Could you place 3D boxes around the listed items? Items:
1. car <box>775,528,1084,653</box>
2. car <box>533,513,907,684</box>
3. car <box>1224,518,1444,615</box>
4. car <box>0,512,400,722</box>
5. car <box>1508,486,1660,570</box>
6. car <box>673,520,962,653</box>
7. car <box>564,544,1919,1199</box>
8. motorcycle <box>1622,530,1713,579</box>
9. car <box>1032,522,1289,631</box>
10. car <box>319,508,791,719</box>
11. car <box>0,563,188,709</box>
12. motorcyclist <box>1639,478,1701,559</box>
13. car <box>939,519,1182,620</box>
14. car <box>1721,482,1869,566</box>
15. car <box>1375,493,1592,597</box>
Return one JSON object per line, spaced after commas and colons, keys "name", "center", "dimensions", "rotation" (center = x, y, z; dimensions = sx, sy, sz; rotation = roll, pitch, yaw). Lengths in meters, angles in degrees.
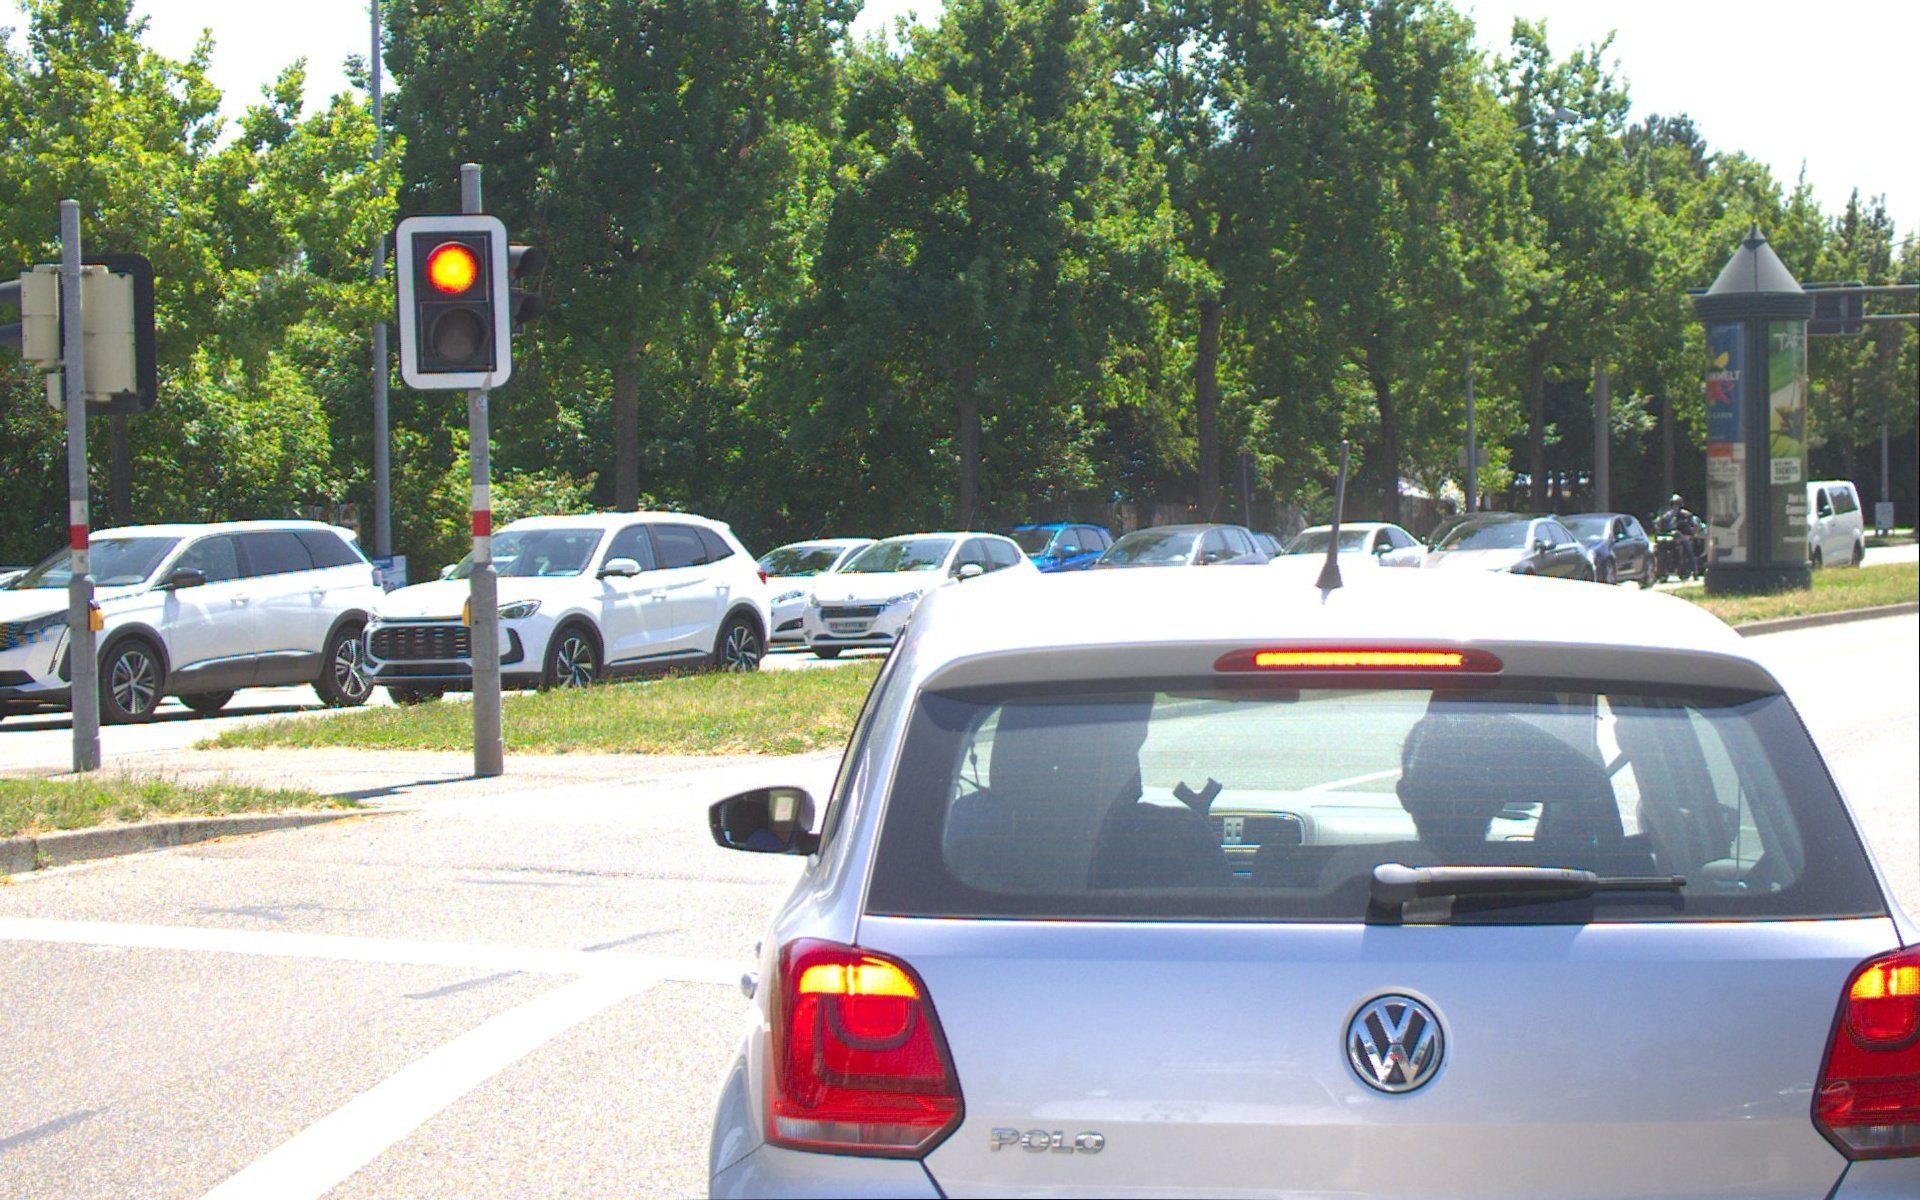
{"name": "car", "center": [-0.306, -0.156, 42.004], "dimensions": [1.861, 1.417, 4.401], "rotation": [0, 2, 29]}
{"name": "car", "center": [-2.456, -0.070, 36.334], "dimensions": [1.861, 1.677, 4.401], "rotation": [0, 2, 29]}
{"name": "car", "center": [5.873, -0.547, 53.581], "dimensions": [1.861, 1.417, 4.401], "rotation": [0, 2, 29]}
{"name": "car", "center": [-6.848, 0.076, 29.040], "dimensions": [1.861, 1.612, 4.401], "rotation": [0, 2, 29]}
{"name": "car", "center": [11.693, -1.334, 64.269], "dimensions": [1.718, 1.470, 3.791], "rotation": [-1, 0, 27]}
{"name": "car", "center": [-1.851, -0.218, 46.161], "dimensions": [1.861, 1.677, 4.401], "rotation": [0, 2, 29]}
{"name": "car", "center": [0.526, 0.650, 5.703], "dimensions": [1.776, 1.417, 4.000], "rotation": [0, 2, 2]}
{"name": "motorcycle", "center": [14.260, -0.928, 69.195], "dimensions": [0.897, 0.949, 2.811], "rotation": [-1, 0, 31]}
{"name": "car", "center": [2.842, -0.355, 47.777], "dimensions": [1.861, 1.417, 4.401], "rotation": [0, 2, 29]}
{"name": "car", "center": [-3.422, 0.050, 29.908], "dimensions": [1.861, 1.677, 4.401], "rotation": [0, 2, 29]}
{"name": "car", "center": [-9.297, 0.331, 31.577], "dimensions": [1.861, 1.266, 4.401], "rotation": [0, 2, 29]}
{"name": "motorcyclist", "center": [14.314, -1.639, 69.321], "dimensions": [0.907, 1.581, 1.008], "rotation": [-1, 0, 30]}
{"name": "car", "center": [1.565, -0.489, 51.858], "dimensions": [1.861, 1.417, 4.401], "rotation": [0, 2, 29]}
{"name": "car", "center": [15.980, -1.456, 65.679], "dimensions": [1.865, 1.549, 3.994], "rotation": [0, 2, 27]}
{"name": "car", "center": [7.793, -0.837, 50.890], "dimensions": [1.973, 1.483, 3.994], "rotation": [0, 2, 28]}
